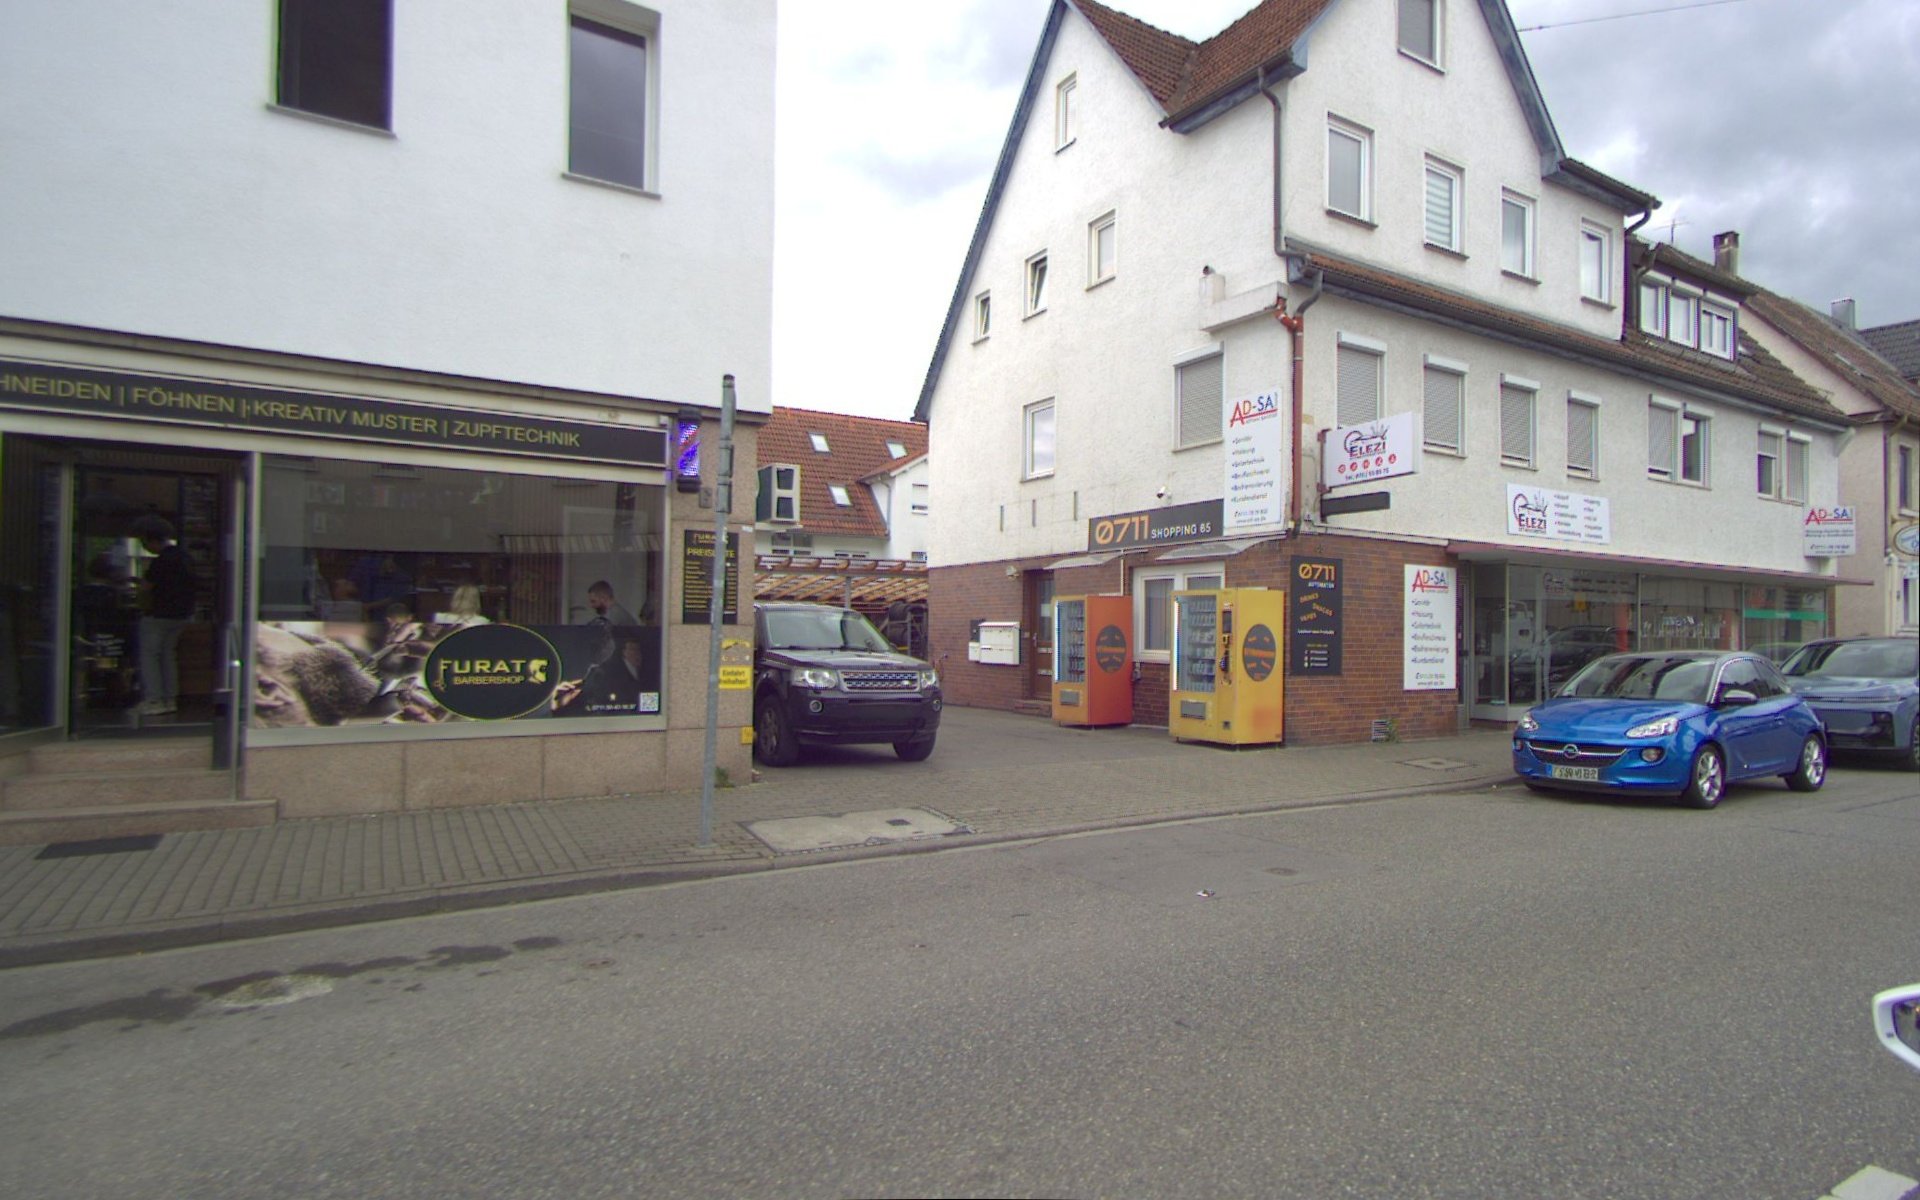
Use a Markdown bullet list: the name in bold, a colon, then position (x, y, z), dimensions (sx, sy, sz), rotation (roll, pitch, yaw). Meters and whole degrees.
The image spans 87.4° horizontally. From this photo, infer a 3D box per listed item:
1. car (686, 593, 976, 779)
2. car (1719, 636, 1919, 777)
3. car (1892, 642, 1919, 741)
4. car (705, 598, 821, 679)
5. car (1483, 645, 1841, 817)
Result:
- **car**: position (-1.664, 0.824, 11.540), dimensions (1.976, 1.725, 3.970), rotation (2, -1, -29)
- **car**: position (12.228, 1.316, 13.445), dimensions (4.254, 1.620, 1.795), rotation (2, -3, -30)
- **car**: position (16.777, 1.481, 16.176), dimensions (3.768, 1.528, 1.574), rotation (2, -1, -30)
- **car**: position (-5.194, 0.939, 26.153), dimensions (1.928, 1.915, 3.972), rotation (2, -1, -27)
- **car**: position (7.427, 1.242, 10.582), dimensions (3.730, 1.519, 1.675), rotation (2, -3, -30)
